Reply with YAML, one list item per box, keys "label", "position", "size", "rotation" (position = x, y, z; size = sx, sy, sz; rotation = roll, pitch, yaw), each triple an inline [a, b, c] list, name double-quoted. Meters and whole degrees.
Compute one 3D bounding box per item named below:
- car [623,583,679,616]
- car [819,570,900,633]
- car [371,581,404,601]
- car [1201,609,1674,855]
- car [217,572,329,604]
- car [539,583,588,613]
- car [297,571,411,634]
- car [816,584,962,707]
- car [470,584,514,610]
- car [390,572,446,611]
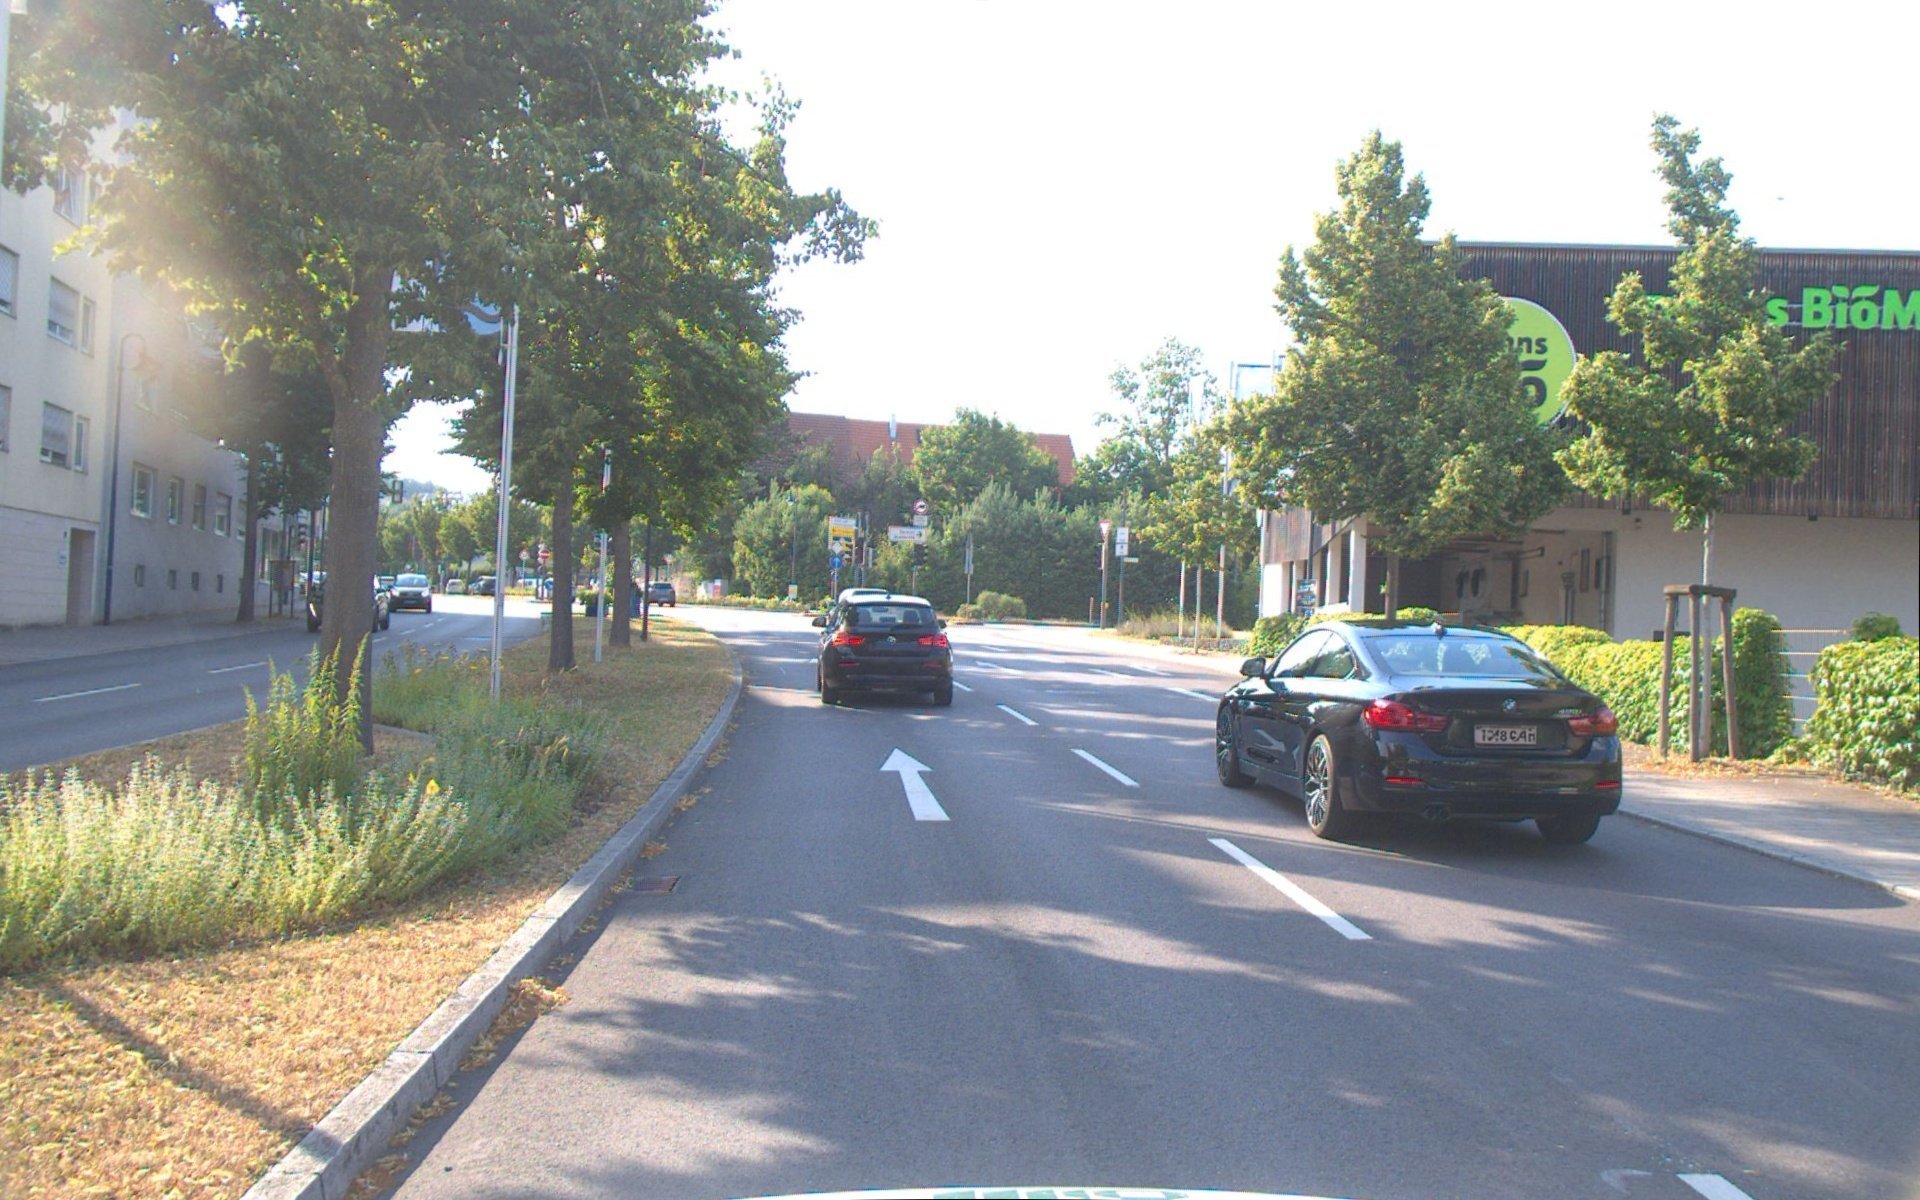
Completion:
- label: "car"
  position: [-18.473, -0.037, 98.800]
  size: [2.229, 1.703, 4.553]
  rotation: [4, 0, -24]
- label: "car"
  position: [-3.147, 0.028, 50.893]
  size: [1.891, 1.800, 4.442]
  rotation: [1, 0, -11]
- label: "car"
  position: [-54.773, -0.848, 158.276]
  size: [2.193, 1.800, 4.410]
  rotation: [1, 0, -30]
- label: "car"
  position: [3.116, 0.788, 11.830]
  size: [1.882, 1.388, 4.349]
  rotation: [1, 0, -4]
- label: "car"
  position: [-33.171, -0.578, 79.982]
  size: [4.783, 1.462, 1.908]
  rotation: [1, 0, -18]
- label: "car"
  position: [-25.951, -0.142, 108.084]
  size: [2.229, 1.703, 4.553]
  rotation: [4, 0, -24]
- label: "car"
  position: [-16.509, 0.065, 45.298]
  size: [1.903, 1.512, 4.318]
  rotation: [4, 0, -7]
- label: "car"
  position: [-1.088, 0.581, 23.266]
  size: [1.688, 1.516, 4.346]
  rotation: [2, 0, -7]
- label: "car"
  position: [-35.223, -0.237, 124.390]
  size: [2.193, 1.800, 4.410]
  rotation: [1, 0, -30]
- label: "car"
  position: [-21.870, -0.325, 66.807]
  size: [1.576, 1.512, 3.775]
  rotation: [1, 0, -10]
